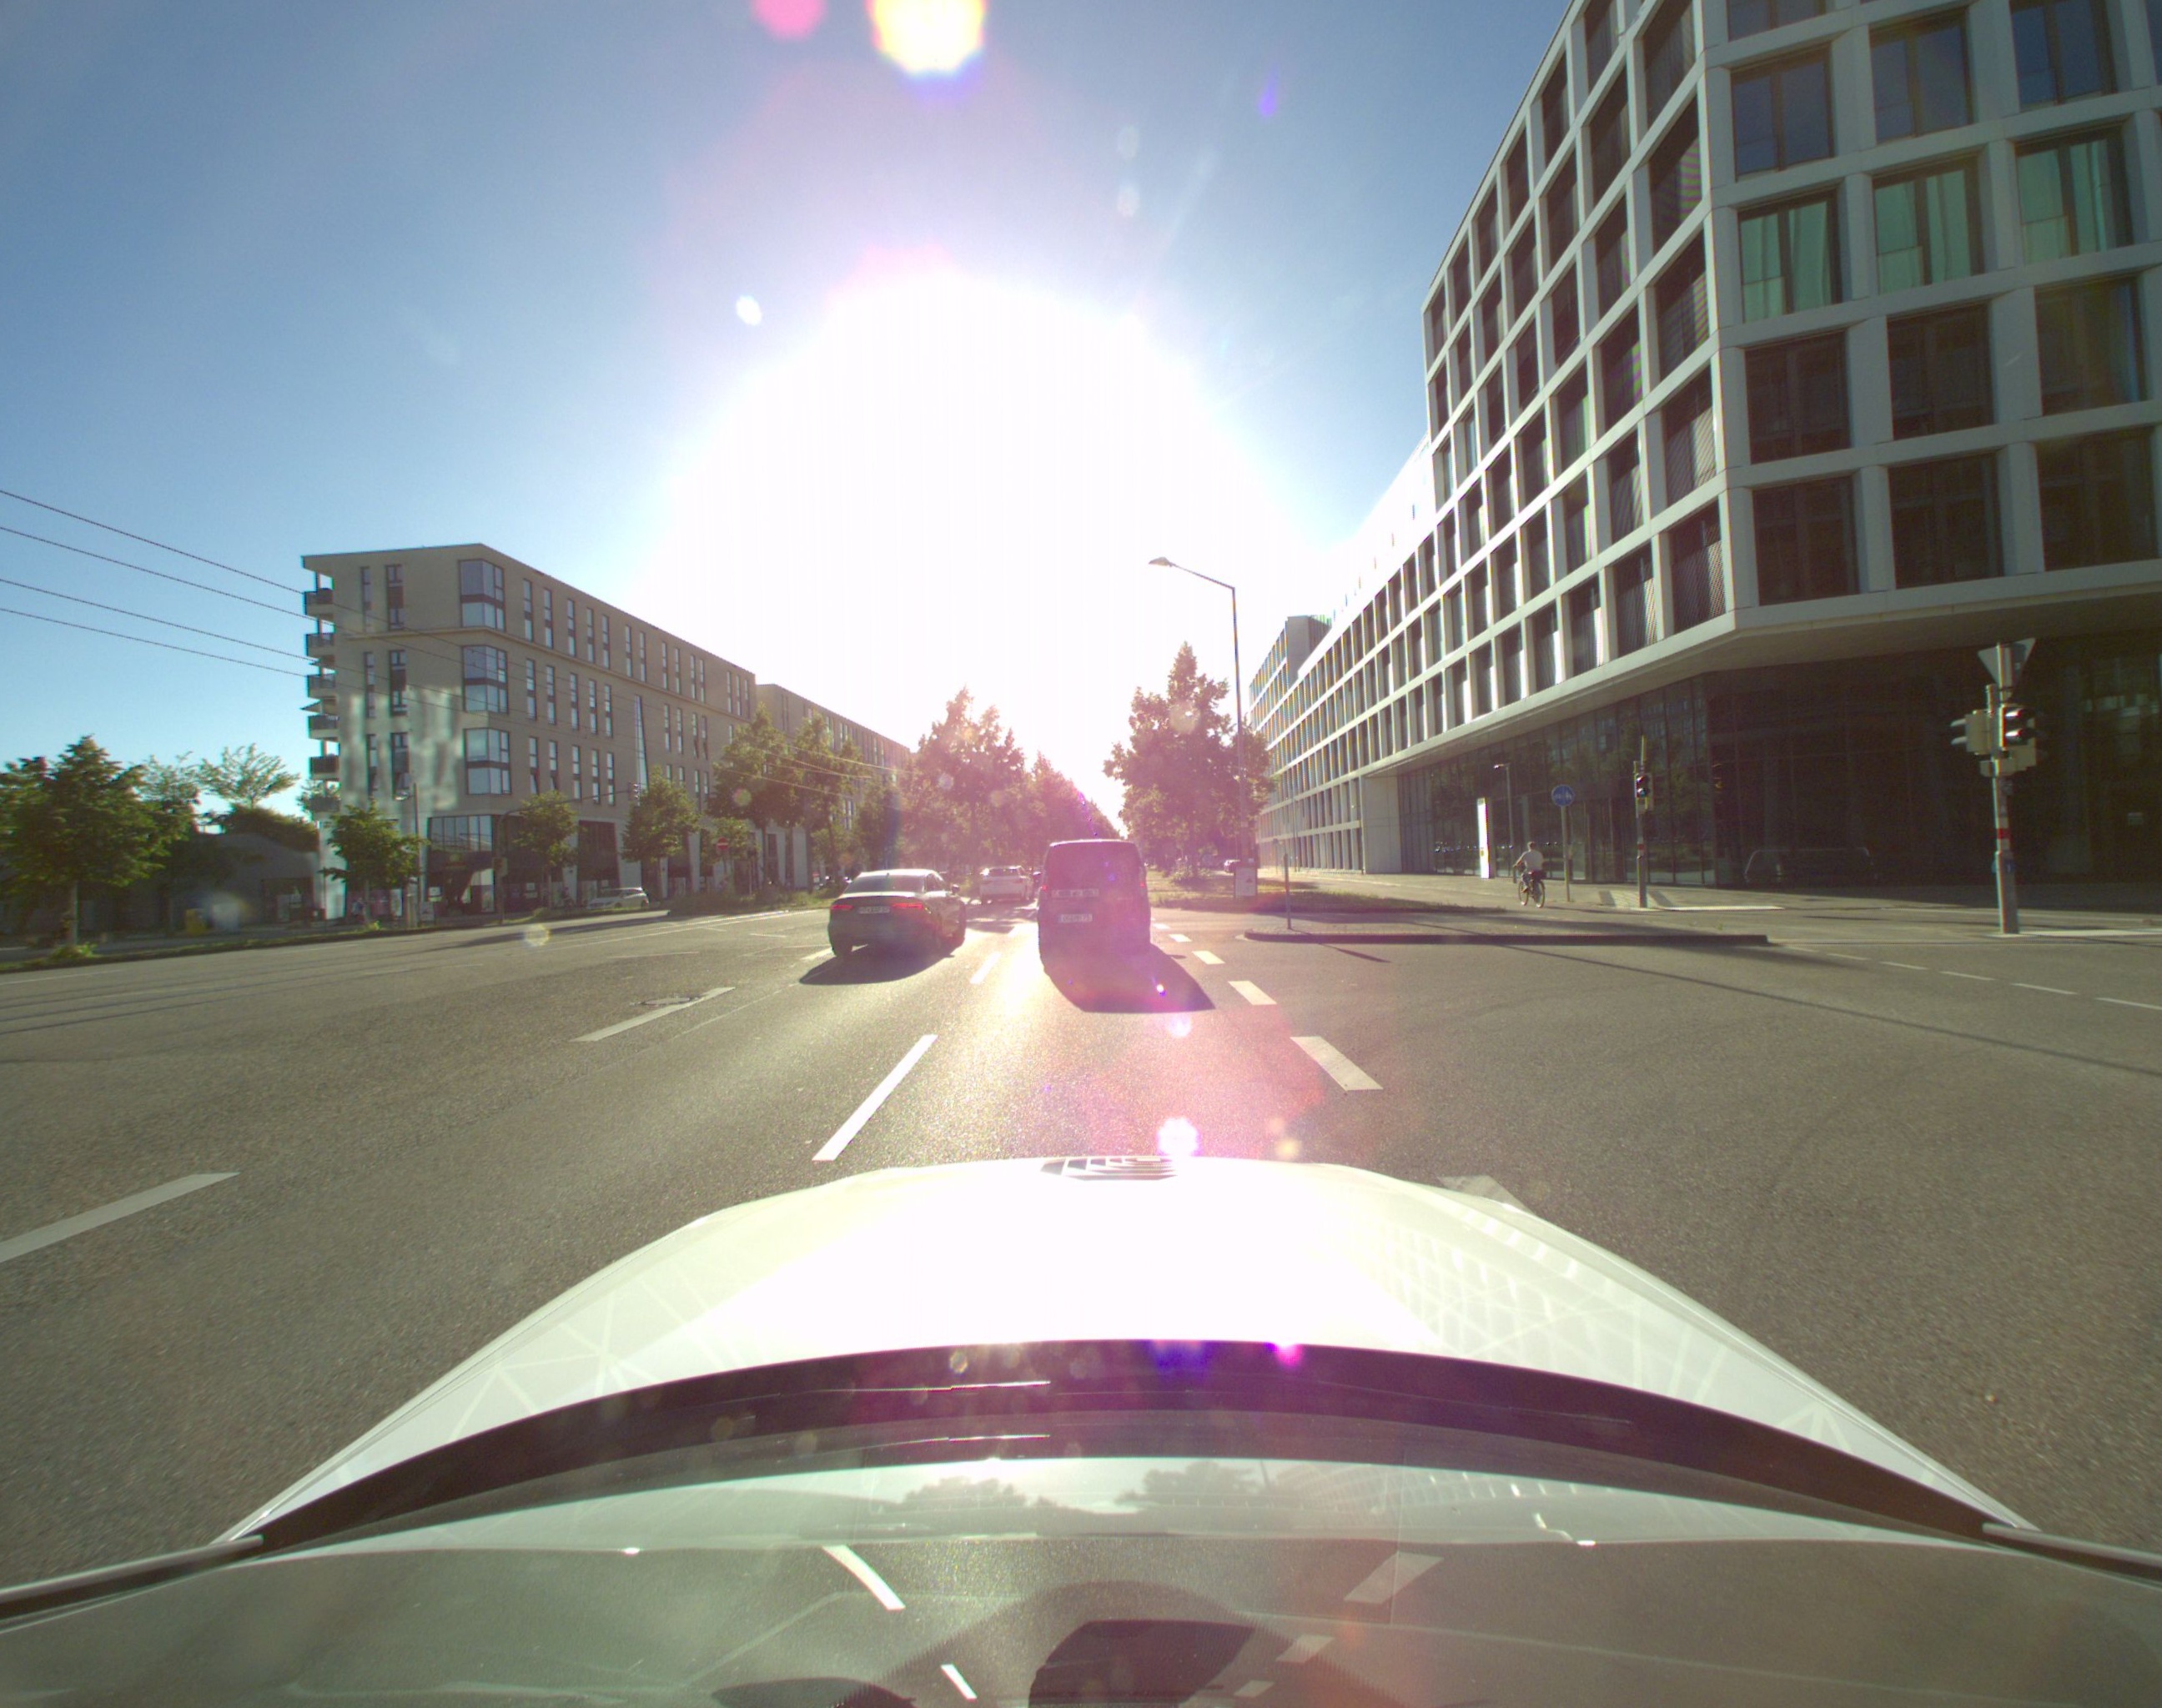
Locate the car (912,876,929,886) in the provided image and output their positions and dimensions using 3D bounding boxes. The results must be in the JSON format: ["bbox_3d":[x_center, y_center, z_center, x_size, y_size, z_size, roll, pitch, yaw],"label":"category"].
[{"bbox_3d":[-24.246,4.052,123.088,1.573,1.342,3.716,-3,-1,4],"label":"car"}]

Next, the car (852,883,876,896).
[{"bbox_3d":[-26.000,4.200,97.498,1.573,1.342,3.716,-3,-1,4],"label":"car"}]

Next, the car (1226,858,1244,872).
[{"bbox_3d":[18.566,1.319,98.098,1.749,1.611,3.909,-2,-1,6],"label":"car"}]

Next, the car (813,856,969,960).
[{"bbox_3d":[-3.223,0.857,14.662,1.802,1.527,4.111,-2,-1,-1],"label":"car"}]

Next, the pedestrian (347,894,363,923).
[{"bbox_3d":[-44.980,3.375,50.456,0.602,1.771,0.666,-1,-2,-32],"label":"pedestrian"}]

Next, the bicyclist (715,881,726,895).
[{"bbox_3d":[-33.370,3.173,75.346,0.574,1.293,0.707,-2,-1,10],"label":"bicyclist"}]

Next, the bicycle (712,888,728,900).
[{"bbox_3d":[-33.367,3.690,75.296,0.525,1.111,1.642,-2,-1,10],"label":"bicycle"}]

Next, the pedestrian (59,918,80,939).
[{"bbox_3d":[-57.106,4.206,45.973,0.436,1.125,0.601,-2,-1,7],"label":"pedestrian"}]

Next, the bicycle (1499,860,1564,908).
[{"bbox_3d":[11.988,0.769,21.730,0.738,1.174,1.964,-3,-1,5],"label":"bicycle"}]

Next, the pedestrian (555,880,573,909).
[{"bbox_3d":[-32.311,2.529,50.907,0.576,1.812,0.800,-2,-1,1],"label":"pedestrian"}]

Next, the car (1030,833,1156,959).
[{"bbox_3d":[0.137,0.641,14.121,1.803,1.794,4.110,-2,-1,-1],"label":"car"}]

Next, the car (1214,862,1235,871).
[{"bbox_3d":[24.117,2.039,136.871,3.377,1.358,1.475,-3,-1,11],"label":"car"}]

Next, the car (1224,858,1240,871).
[{"bbox_3d":[19.120,1.373,103.282,1.809,1.532,3.444,-3,-1,8],"label":"car"}]

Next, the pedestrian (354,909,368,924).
[{"bbox_3d":[-45.458,3.961,51.437,0.602,0.920,0.429,-1,-1,-32],"label":"pedestrian"}]

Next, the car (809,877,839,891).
[{"bbox_3d":[-26.645,3.084,84.537,1.573,1.342,3.716,-3,-1,4],"label":"car"}]

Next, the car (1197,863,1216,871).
[{"bbox_3d":[22.981,2.312,148.802,3.377,1.358,1.475,-3,-1,11],"label":"car"}]

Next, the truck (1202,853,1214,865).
[{"bbox_3d":[26.231,1.044,168.761,1.823,2.501,5.939,-2,-1,4],"label":"truck"}]

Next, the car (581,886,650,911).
[{"bbox_3d":[-29.606,2.804,51.969,1.573,1.342,4.476,-3,-1,4],"label":"car"}]

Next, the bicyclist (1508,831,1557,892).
[{"bbox_3d":[11.955,0.202,21.590,0.768,1.531,0.851,-3,-1,4],"label":"bicyclist"}]

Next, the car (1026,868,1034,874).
[{"bbox_3d":[-15.033,5.024,239.420,1.748,1.574,4.004,-3,-1,4],"label":"car"}]

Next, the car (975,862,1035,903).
[{"bbox_3d":[-2.910,1.071,31.985,1.802,1.434,4.113,-3,-1,1],"label":"car"}]
